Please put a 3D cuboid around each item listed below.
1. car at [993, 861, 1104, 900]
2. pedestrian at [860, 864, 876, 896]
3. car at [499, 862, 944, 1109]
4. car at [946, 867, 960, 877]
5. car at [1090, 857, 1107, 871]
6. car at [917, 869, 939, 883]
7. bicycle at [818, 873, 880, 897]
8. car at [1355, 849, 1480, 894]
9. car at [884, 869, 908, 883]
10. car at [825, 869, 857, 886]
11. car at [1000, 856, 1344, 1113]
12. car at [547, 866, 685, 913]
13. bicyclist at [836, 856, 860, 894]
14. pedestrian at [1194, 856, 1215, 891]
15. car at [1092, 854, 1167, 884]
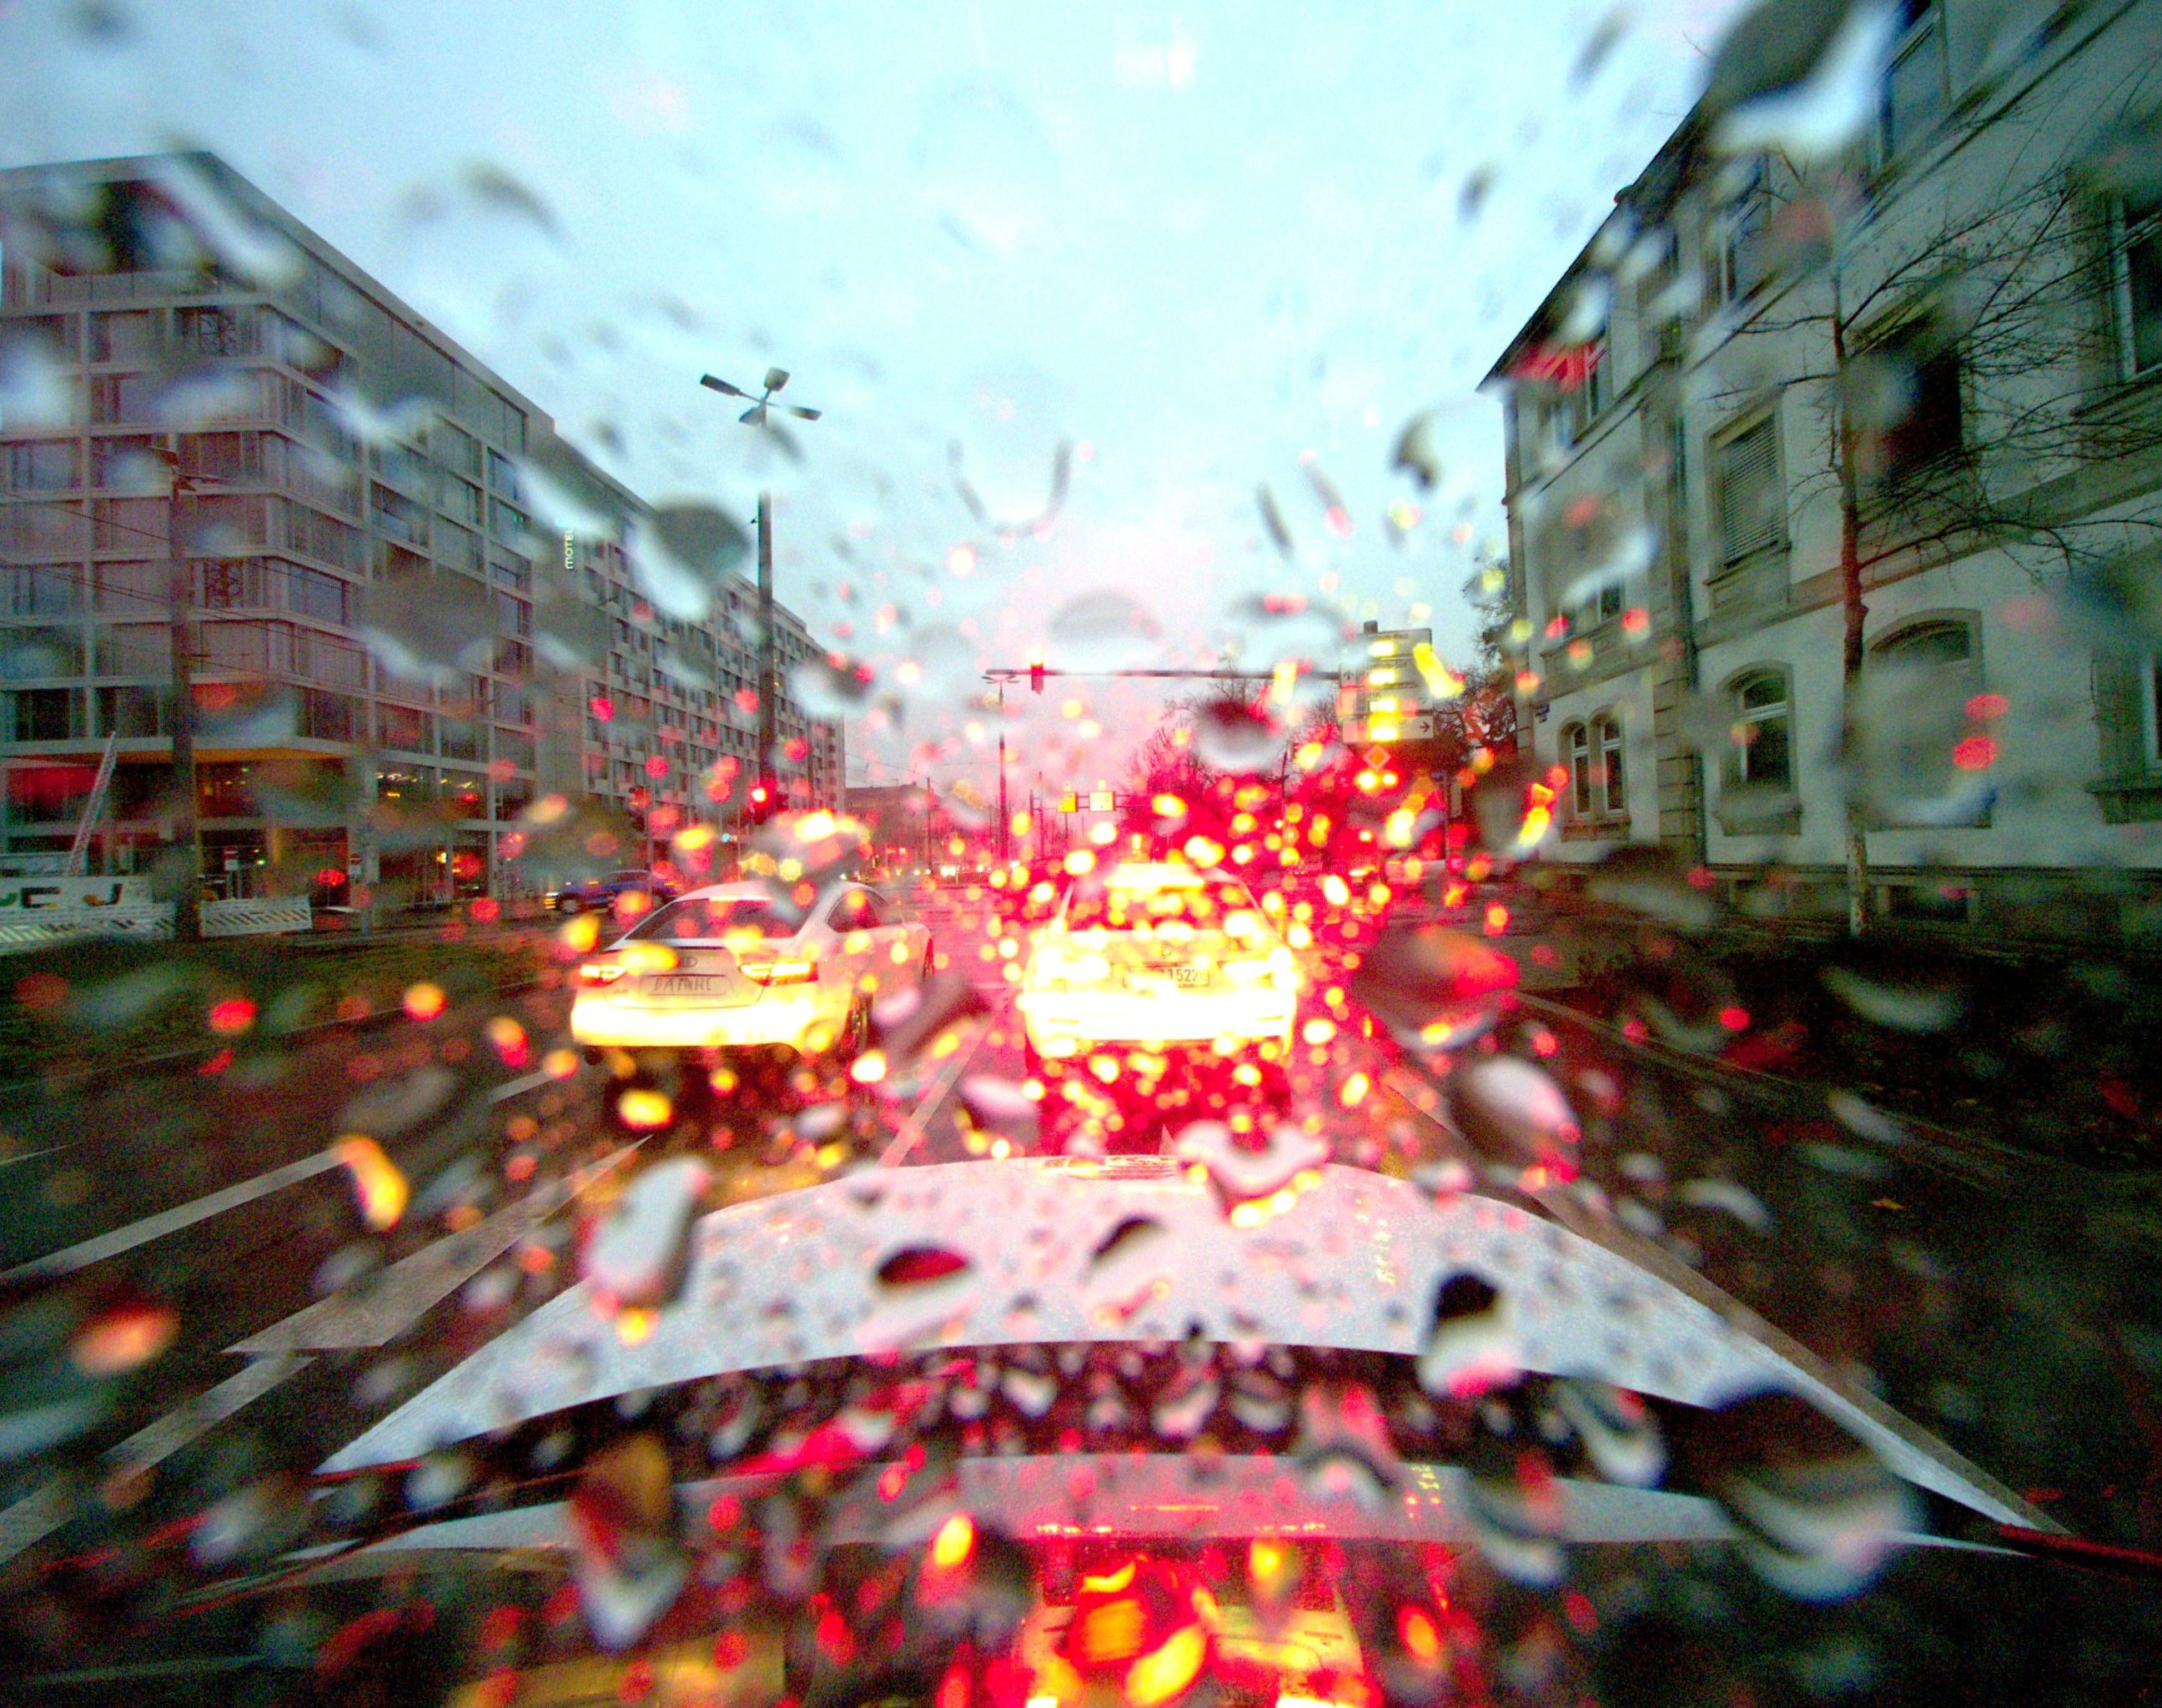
[{"bbox_3d":[-1.243,1.028,32.161,4.067,1.441,1.845,-1,-1,10],"label":"car"},{"bbox_3d":[-11.714,1.422,44.777,0.791,1.712,0.809,0,-1,-13],"label":"pedestrian"},{"bbox_3d":[-2.591,0.832,7.225,1.987,1.456,4.367,-1,0,0],"label":"car"},{"bbox_3d":[-21.137,2.975,134.291,1.669,1.508,3.697,0,-1,1],"label":"car"},{"bbox_3d":[1.992,1.135,92.165,1.836,1.609,3.945,0,-1,1],"label":"car"},{"bbox_3d":[-16.816,2.433,89.548,1.669,1.508,3.697,0,-1,1],"label":"car"},{"bbox_3d":[-10.841,1.432,38.105,2.665,1.089,0.812,0,-1,-9],"label":"bicycle"},{"bbox_3d":[12.144,0.657,29.623,4.058,1.529,1.849,-1,-1,20],"label":"car"},{"bbox_3d":[-20.479,2.471,90.247,1.669,1.508,3.697,0,-1,1],"label":"car"},{"bbox_3d":[-21.265,2.043,72.304,1.669,1.508,3.697,0,-1,1],"label":"car"},{"bbox_3d":[0.532,0.763,6.932,1.987,1.456,4.367,-1,0,0],"label":"car"},{"bbox_3d":[-16.514,1.235,29.141,3.998,1.622,1.708,0,-1,-19],"label":"car"},{"bbox_3d":[-10.893,0.987,38.101,0.972,1.759,0.811,0,-1,-9],"label":"bicyclist"},{"bbox_3d":[6.639,1.039,43.744,0.894,1.856,0.817,-1,-1,26],"label":"pedestrian"},{"bbox_3d":[2.368,0.750,41.027,1.764,1.402,3.958,1,-1,-34],"label":"car"}]
